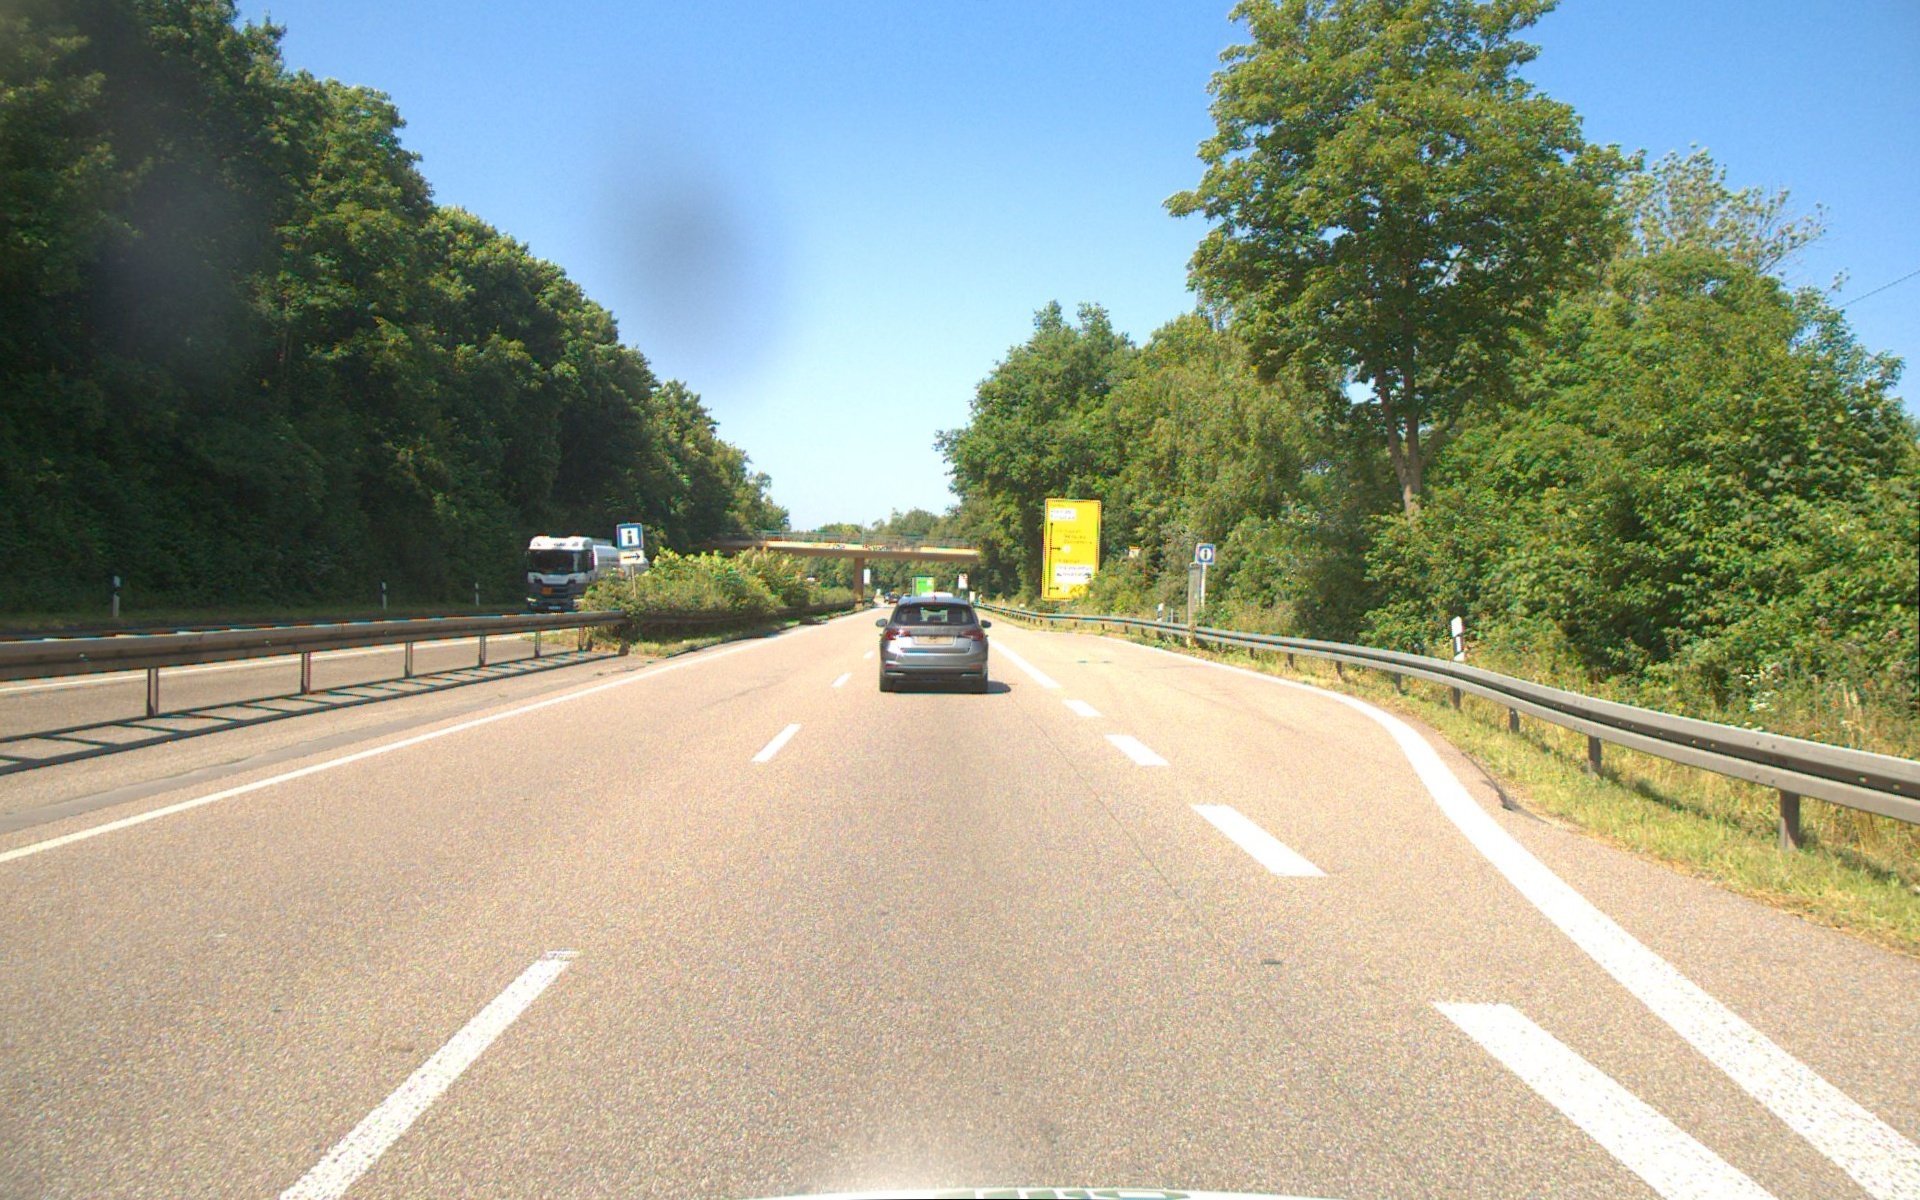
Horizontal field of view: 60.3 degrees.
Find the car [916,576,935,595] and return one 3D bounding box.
[{"bbox_3d":[-4.961,-2.136,240.818,2.693,2.700,3.999,1,0,-1],"label":"car"}]

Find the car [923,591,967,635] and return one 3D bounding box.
[{"bbox_3d":[-0.522,0.442,59.237,1.491,1.472,3.340,1,1,1],"label":"car"}]

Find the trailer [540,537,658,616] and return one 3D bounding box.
[{"bbox_3d":[-16.416,-0.989,76.391,2.442,3.292,14.429,1,0,-1],"label":"trailer"}]

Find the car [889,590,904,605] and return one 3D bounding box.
[{"bbox_3d":[-9.040,-0.354,234.822,1.953,2.049,3.999,1,0,-1],"label":"car"}]

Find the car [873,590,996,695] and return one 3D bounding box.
[{"bbox_3d":[-0.356,0.621,26.258,1.802,1.497,3.624,1,1,0],"label":"car"}]

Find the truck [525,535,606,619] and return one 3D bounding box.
[{"bbox_3d":[-16.311,-0.930,68.614,2.376,3.315,3.999,1,0,-1],"label":"truck"}]
